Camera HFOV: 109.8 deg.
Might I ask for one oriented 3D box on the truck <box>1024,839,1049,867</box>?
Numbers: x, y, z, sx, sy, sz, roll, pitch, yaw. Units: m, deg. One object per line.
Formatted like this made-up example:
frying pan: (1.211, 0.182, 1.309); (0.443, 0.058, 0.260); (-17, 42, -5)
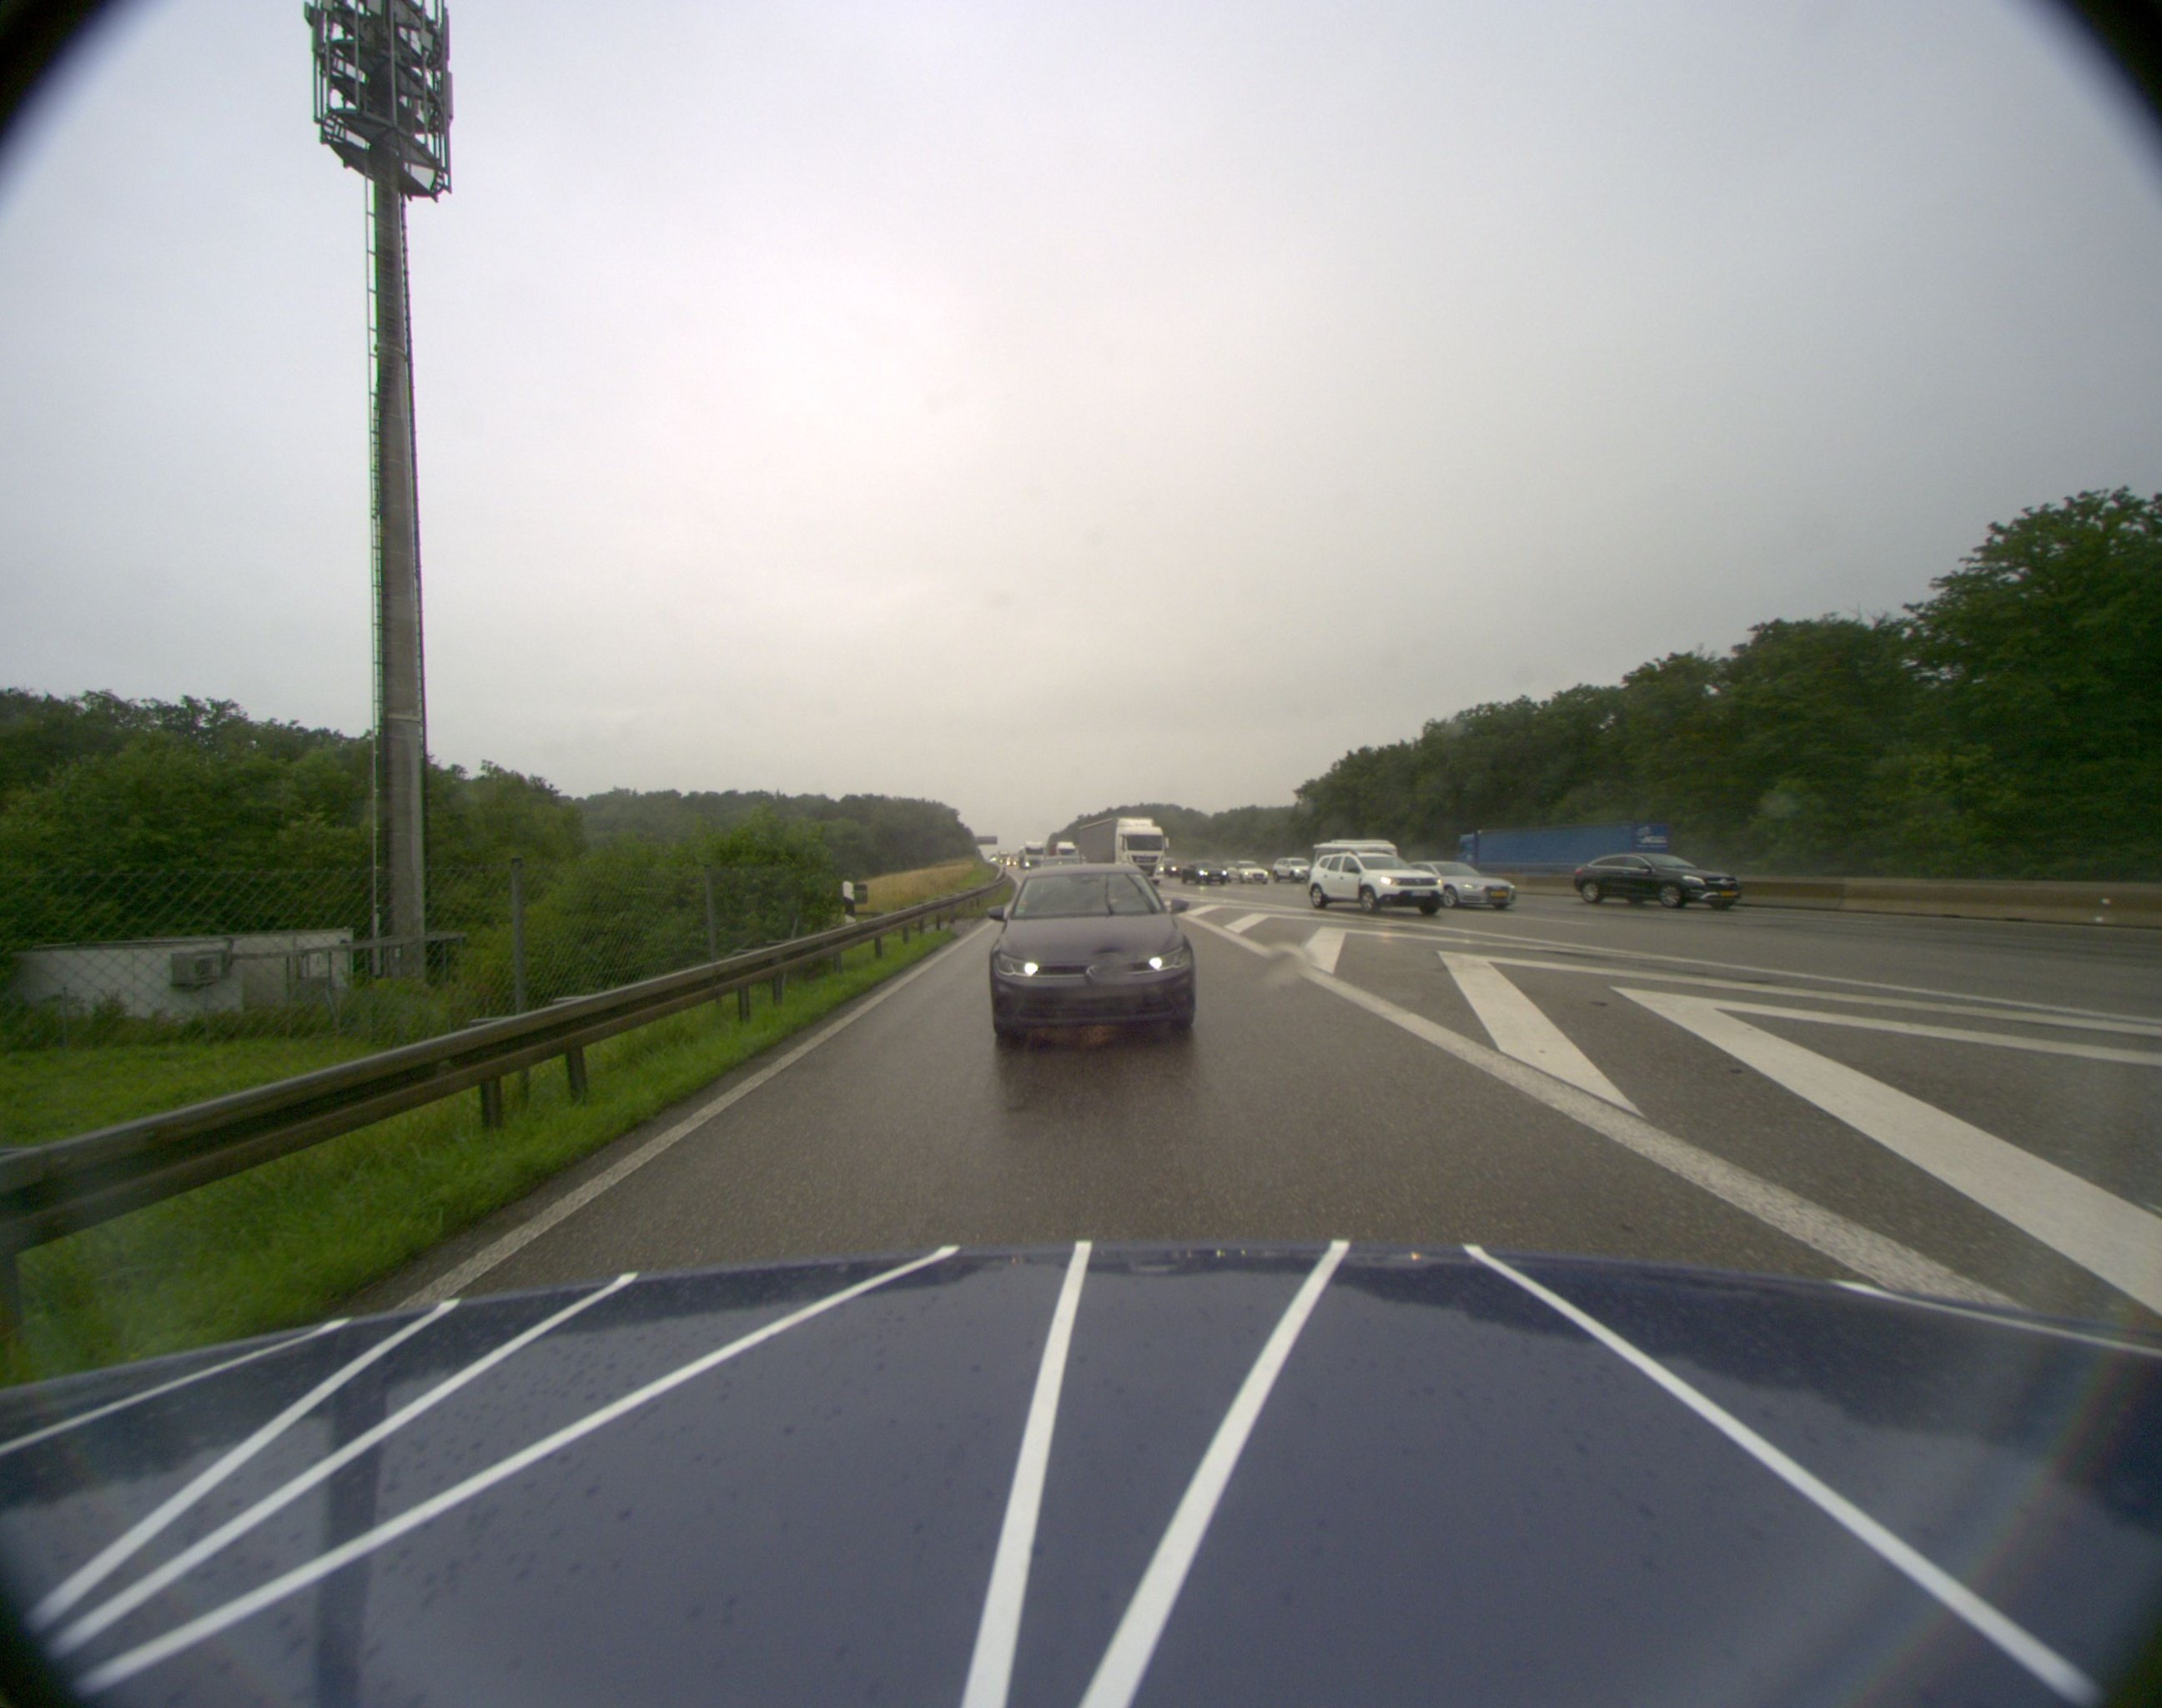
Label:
truck: (-6.420, -0.092, 109.497); (2.759, 3.984, 6.502); (1, -1, -10)

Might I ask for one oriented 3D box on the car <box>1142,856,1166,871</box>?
car: (8.642, 1.116, 89.928); (1.734, 1.781, 3.891); (1, 0, -12)

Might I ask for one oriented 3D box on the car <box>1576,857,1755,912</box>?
car: (18.372, 0.906, 24.193); (1.710, 1.565, 4.521); (1, 0, -10)

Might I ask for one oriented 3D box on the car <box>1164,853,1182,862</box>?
car: (14.883, 0.545, 123.614); (1.794, 1.517, 4.331); (-1, 0, -8)

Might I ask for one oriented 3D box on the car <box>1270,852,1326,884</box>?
car: (14.583, 0.904, 51.270); (1.942, 2.002, 3.996); (-3, 0, -11)

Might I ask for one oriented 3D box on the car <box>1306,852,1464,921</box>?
car: (7.689, 0.781, 19.728); (1.792, 1.576, 4.320); (1, -1, -10)

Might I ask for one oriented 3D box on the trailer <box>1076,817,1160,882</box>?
trailer: (2.257, -0.248, 54.026); (2.905, 3.959, 14.106); (1, 0, -9)

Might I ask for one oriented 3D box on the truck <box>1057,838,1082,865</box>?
truck: (-1.717, -0.367, 110.329); (2.698, 3.635, 5.321); (-3, 1, -9)

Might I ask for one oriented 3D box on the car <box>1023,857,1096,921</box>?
car: (-0.535, 0.921, 21.803); (1.810, 1.532, 4.000); (-4, 0, 1)

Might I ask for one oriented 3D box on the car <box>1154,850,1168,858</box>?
car: (16.950, -0.036, 161.016); (1.691, 1.739, 3.996); (-1, 0, -11)

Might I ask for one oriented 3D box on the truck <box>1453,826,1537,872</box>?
truck: (31.975, -0.346, 58.973); (2.770, 3.395, 5.706); (-1, 0, -9)

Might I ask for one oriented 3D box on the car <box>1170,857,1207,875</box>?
car: (8.834, 1.042, 62.496); (1.824, 1.405, 4.121); (0, -2, -10)

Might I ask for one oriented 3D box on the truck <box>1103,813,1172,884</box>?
truck: (3.390, -0.301, 47.188); (2.882, 4.028, 5.929); (1, 0, -9)

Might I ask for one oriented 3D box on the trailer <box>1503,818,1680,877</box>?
trailer: (33.285, -0.372, 50.502); (2.741, 3.397, 11.390); (-1, 0, -9)

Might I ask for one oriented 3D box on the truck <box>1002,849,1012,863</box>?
truck: (-22.411, 0.639, 230.353); (2.597, 4.120, 5.229); (-3, 0, -3)

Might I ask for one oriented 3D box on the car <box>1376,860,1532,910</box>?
car: (11.055, 0.875, 22.962); (1.852, 1.340, 4.577); (1, -1, -11)

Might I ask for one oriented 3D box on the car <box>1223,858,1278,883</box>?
car: (10.893, 1.029, 49.185); (1.886, 1.472, 4.498); (0, 0, -10)

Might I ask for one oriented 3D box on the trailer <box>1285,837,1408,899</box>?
trailer: (10.053, 0.521, 29.278); (2.136, 2.143, 5.175); (1, -1, -11)

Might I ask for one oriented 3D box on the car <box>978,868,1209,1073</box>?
car: (0.062, 0.916, 7.868); (1.670, 1.394, 4.261); (-3, 0, -1)

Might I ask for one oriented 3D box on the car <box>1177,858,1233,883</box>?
car: (7.532, 0.982, 46.628); (1.887, 1.472, 4.497); (0, 0, -13)

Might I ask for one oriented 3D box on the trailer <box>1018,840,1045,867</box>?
trailer: (-7.668, -0.073, 116.328); (2.771, 4.002, 11.031); (0, 0, -10)

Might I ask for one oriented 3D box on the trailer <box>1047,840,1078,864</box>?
trailer: (-3.078, -0.259, 119.017); (2.692, 3.484, 15.113); (-3, 0, -9)
